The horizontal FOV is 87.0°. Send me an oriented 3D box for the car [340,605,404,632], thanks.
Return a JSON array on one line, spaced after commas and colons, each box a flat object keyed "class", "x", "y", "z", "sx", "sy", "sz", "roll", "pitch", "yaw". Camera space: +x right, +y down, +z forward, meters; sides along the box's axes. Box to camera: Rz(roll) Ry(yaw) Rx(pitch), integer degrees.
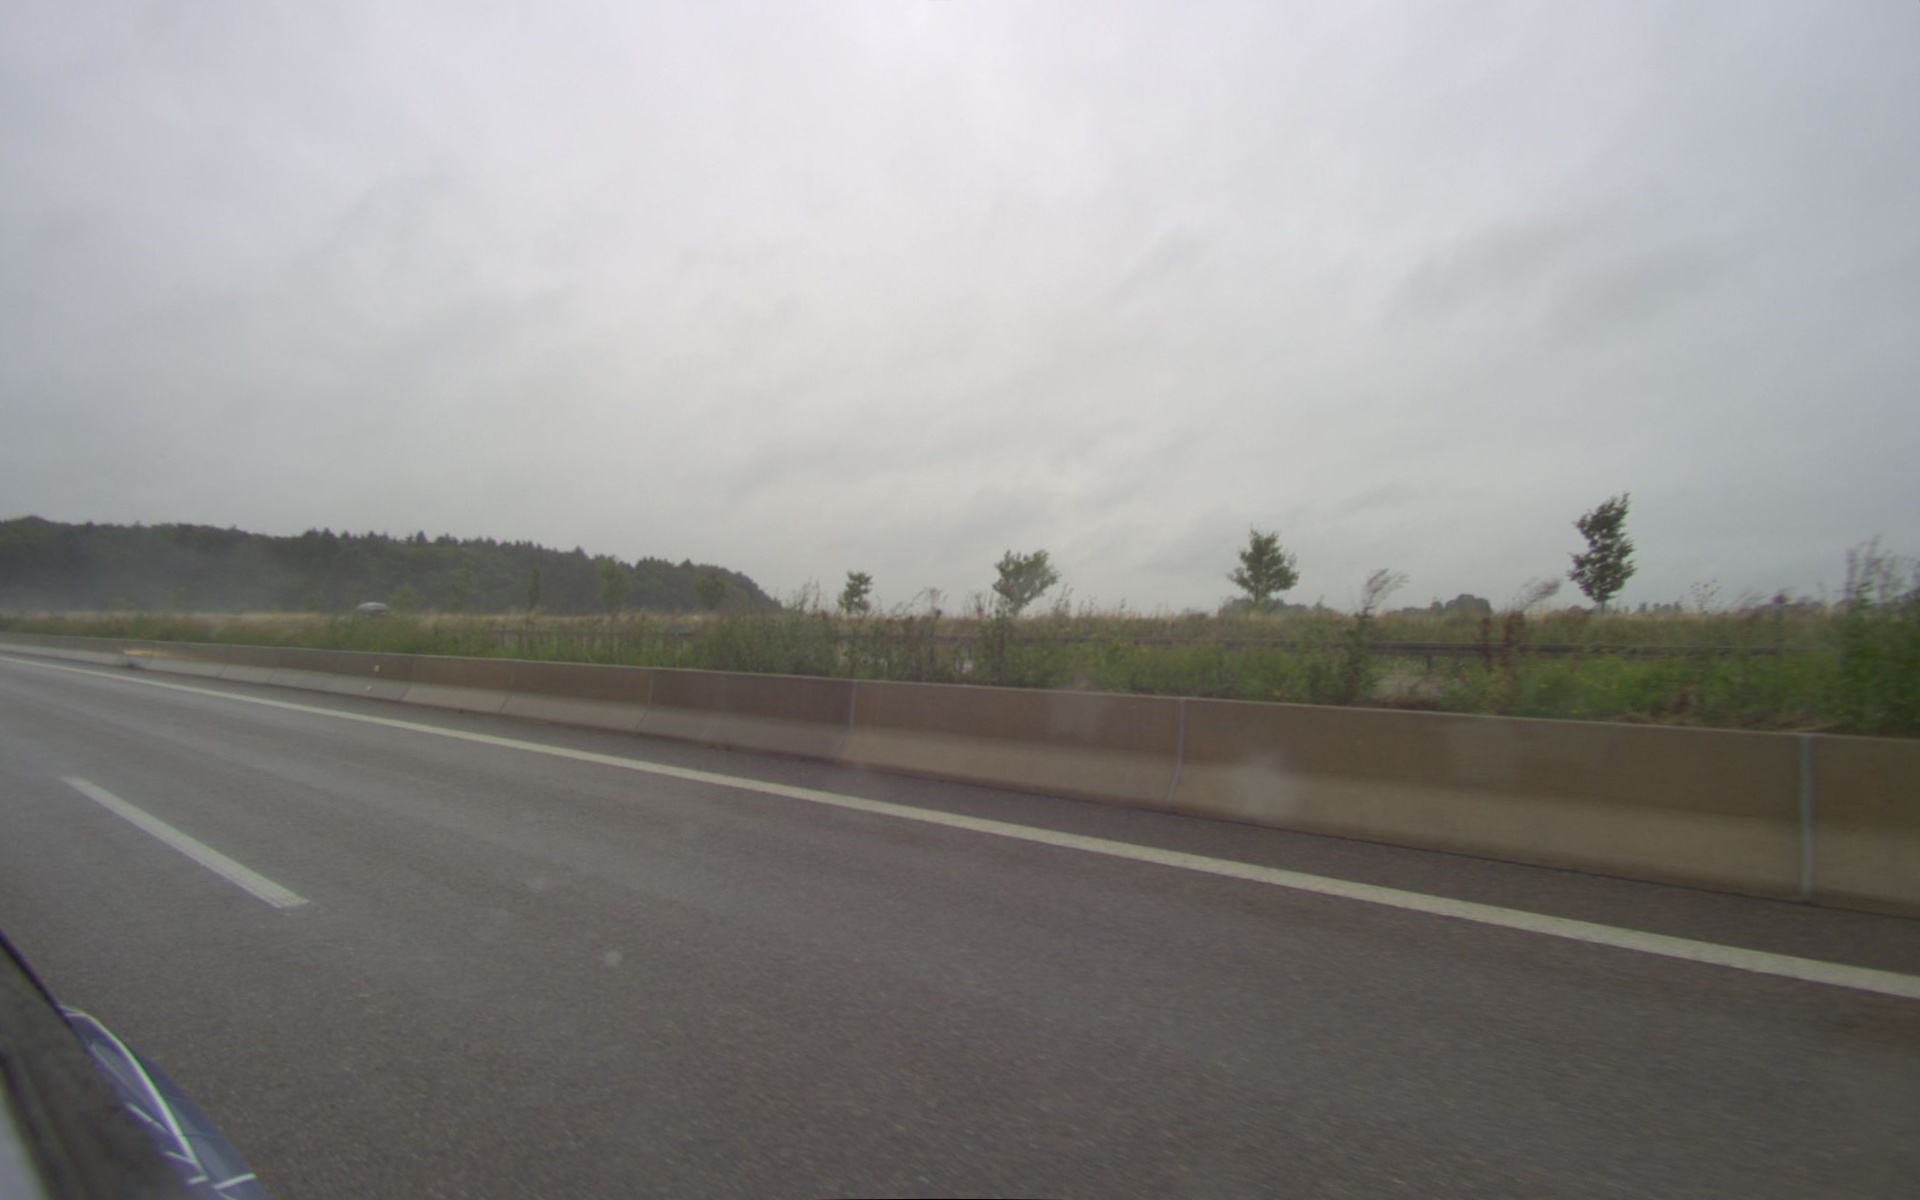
[{"class": "car", "x": -29.228, "y": 0.932, "z": 50.264, "sx": 3.796, "sy": 1.266, "sz": 1.629, "roll": -1, "pitch": -1, "yaw": 41}]
